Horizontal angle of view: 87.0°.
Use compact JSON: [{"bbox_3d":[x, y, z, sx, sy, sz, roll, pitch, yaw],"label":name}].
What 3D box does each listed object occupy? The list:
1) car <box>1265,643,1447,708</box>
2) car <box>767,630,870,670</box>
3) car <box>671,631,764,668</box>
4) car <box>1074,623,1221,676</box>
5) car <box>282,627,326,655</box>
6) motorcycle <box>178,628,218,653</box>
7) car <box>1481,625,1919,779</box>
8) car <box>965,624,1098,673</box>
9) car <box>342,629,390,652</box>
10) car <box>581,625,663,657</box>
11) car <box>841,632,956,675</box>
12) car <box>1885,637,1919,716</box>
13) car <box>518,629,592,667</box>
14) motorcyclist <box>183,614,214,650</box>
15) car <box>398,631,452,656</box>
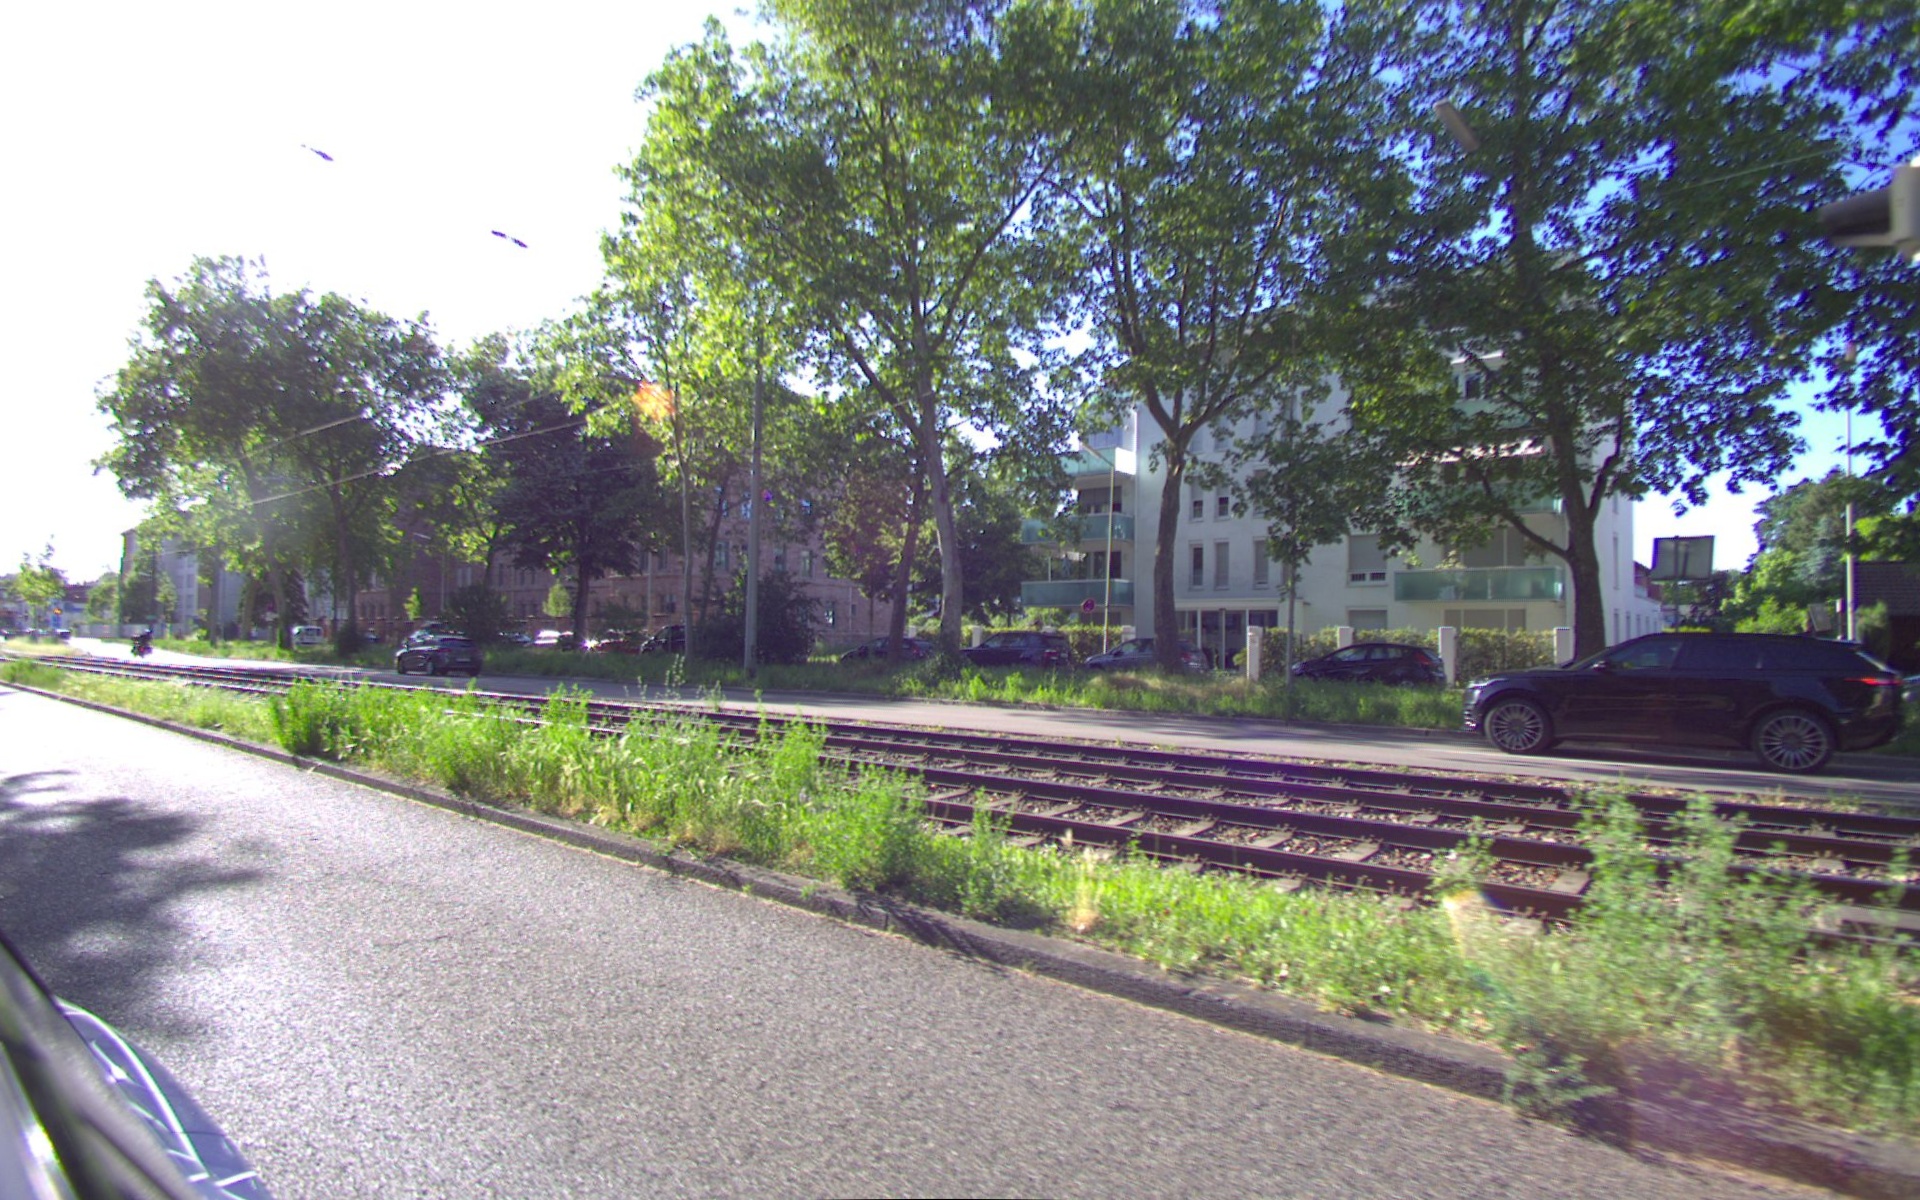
[{"bbox_3d":[10.301,1.913,26.444,3.998,1.544,1.973,-2,-3,41],"label":"car"},{"bbox_3d":[-5.666,1.955,40.313,3.998,1.497,1.973,-2,-3,41],"label":"car"},{"bbox_3d":[-10.576,2.130,44.059,3.998,1.497,1.973,-2,-3,41],"label":"car"},{"bbox_3d":[5.567,1.464,30.307,3.998,1.484,1.778,-2,-3,41],"label":"car"},{"bbox_3d":[-49.655,3.116,76.619,4.002,2.029,1.971,-2,-3,45],"label":"car"},{"bbox_3d":[-63.783,3.378,84.695,3.996,2.073,1.707,-2,-3,39],"label":"motorcycle"},{"bbox_3d":[9.329,1.199,12.959,4.456,1.660,1.839,-2,-5,39],"label":"car"},{"bbox_3d":[2.316,1.575,33.280,3.998,1.497,1.973,-2,-3,41],"label":"car"},{"bbox_3d":[-40.854,2.779,69.597,3.686,1.497,1.748,-2,-3,41],"label":"car"},{"bbox_3d":[-16.294,1.965,48.754,3.998,1.497,1.973,-2,-3,41],"label":"car"},{"bbox_3d":[-2.280,1.921,37.023,3.998,1.497,1.973,-2,-3,41],"label":"car"},{"bbox_3d":[19.898,1.419,18.502,4.316,1.464,1.973,-2,-3,41],"label":"car"},{"bbox_3d":[-21.095,2.467,52.639,3.998,1.863,1.973,-2,-3,41],"label":"car"},{"bbox_3d":[-63.851,2.691,84.842,1.679,2.944,1.724,-2,-3,41],"label":"motorcyclist"},{"bbox_3d":[-33.232,2.683,62.842,3.686,1.497,1.748,-2,-3,41],"label":"car"}]
